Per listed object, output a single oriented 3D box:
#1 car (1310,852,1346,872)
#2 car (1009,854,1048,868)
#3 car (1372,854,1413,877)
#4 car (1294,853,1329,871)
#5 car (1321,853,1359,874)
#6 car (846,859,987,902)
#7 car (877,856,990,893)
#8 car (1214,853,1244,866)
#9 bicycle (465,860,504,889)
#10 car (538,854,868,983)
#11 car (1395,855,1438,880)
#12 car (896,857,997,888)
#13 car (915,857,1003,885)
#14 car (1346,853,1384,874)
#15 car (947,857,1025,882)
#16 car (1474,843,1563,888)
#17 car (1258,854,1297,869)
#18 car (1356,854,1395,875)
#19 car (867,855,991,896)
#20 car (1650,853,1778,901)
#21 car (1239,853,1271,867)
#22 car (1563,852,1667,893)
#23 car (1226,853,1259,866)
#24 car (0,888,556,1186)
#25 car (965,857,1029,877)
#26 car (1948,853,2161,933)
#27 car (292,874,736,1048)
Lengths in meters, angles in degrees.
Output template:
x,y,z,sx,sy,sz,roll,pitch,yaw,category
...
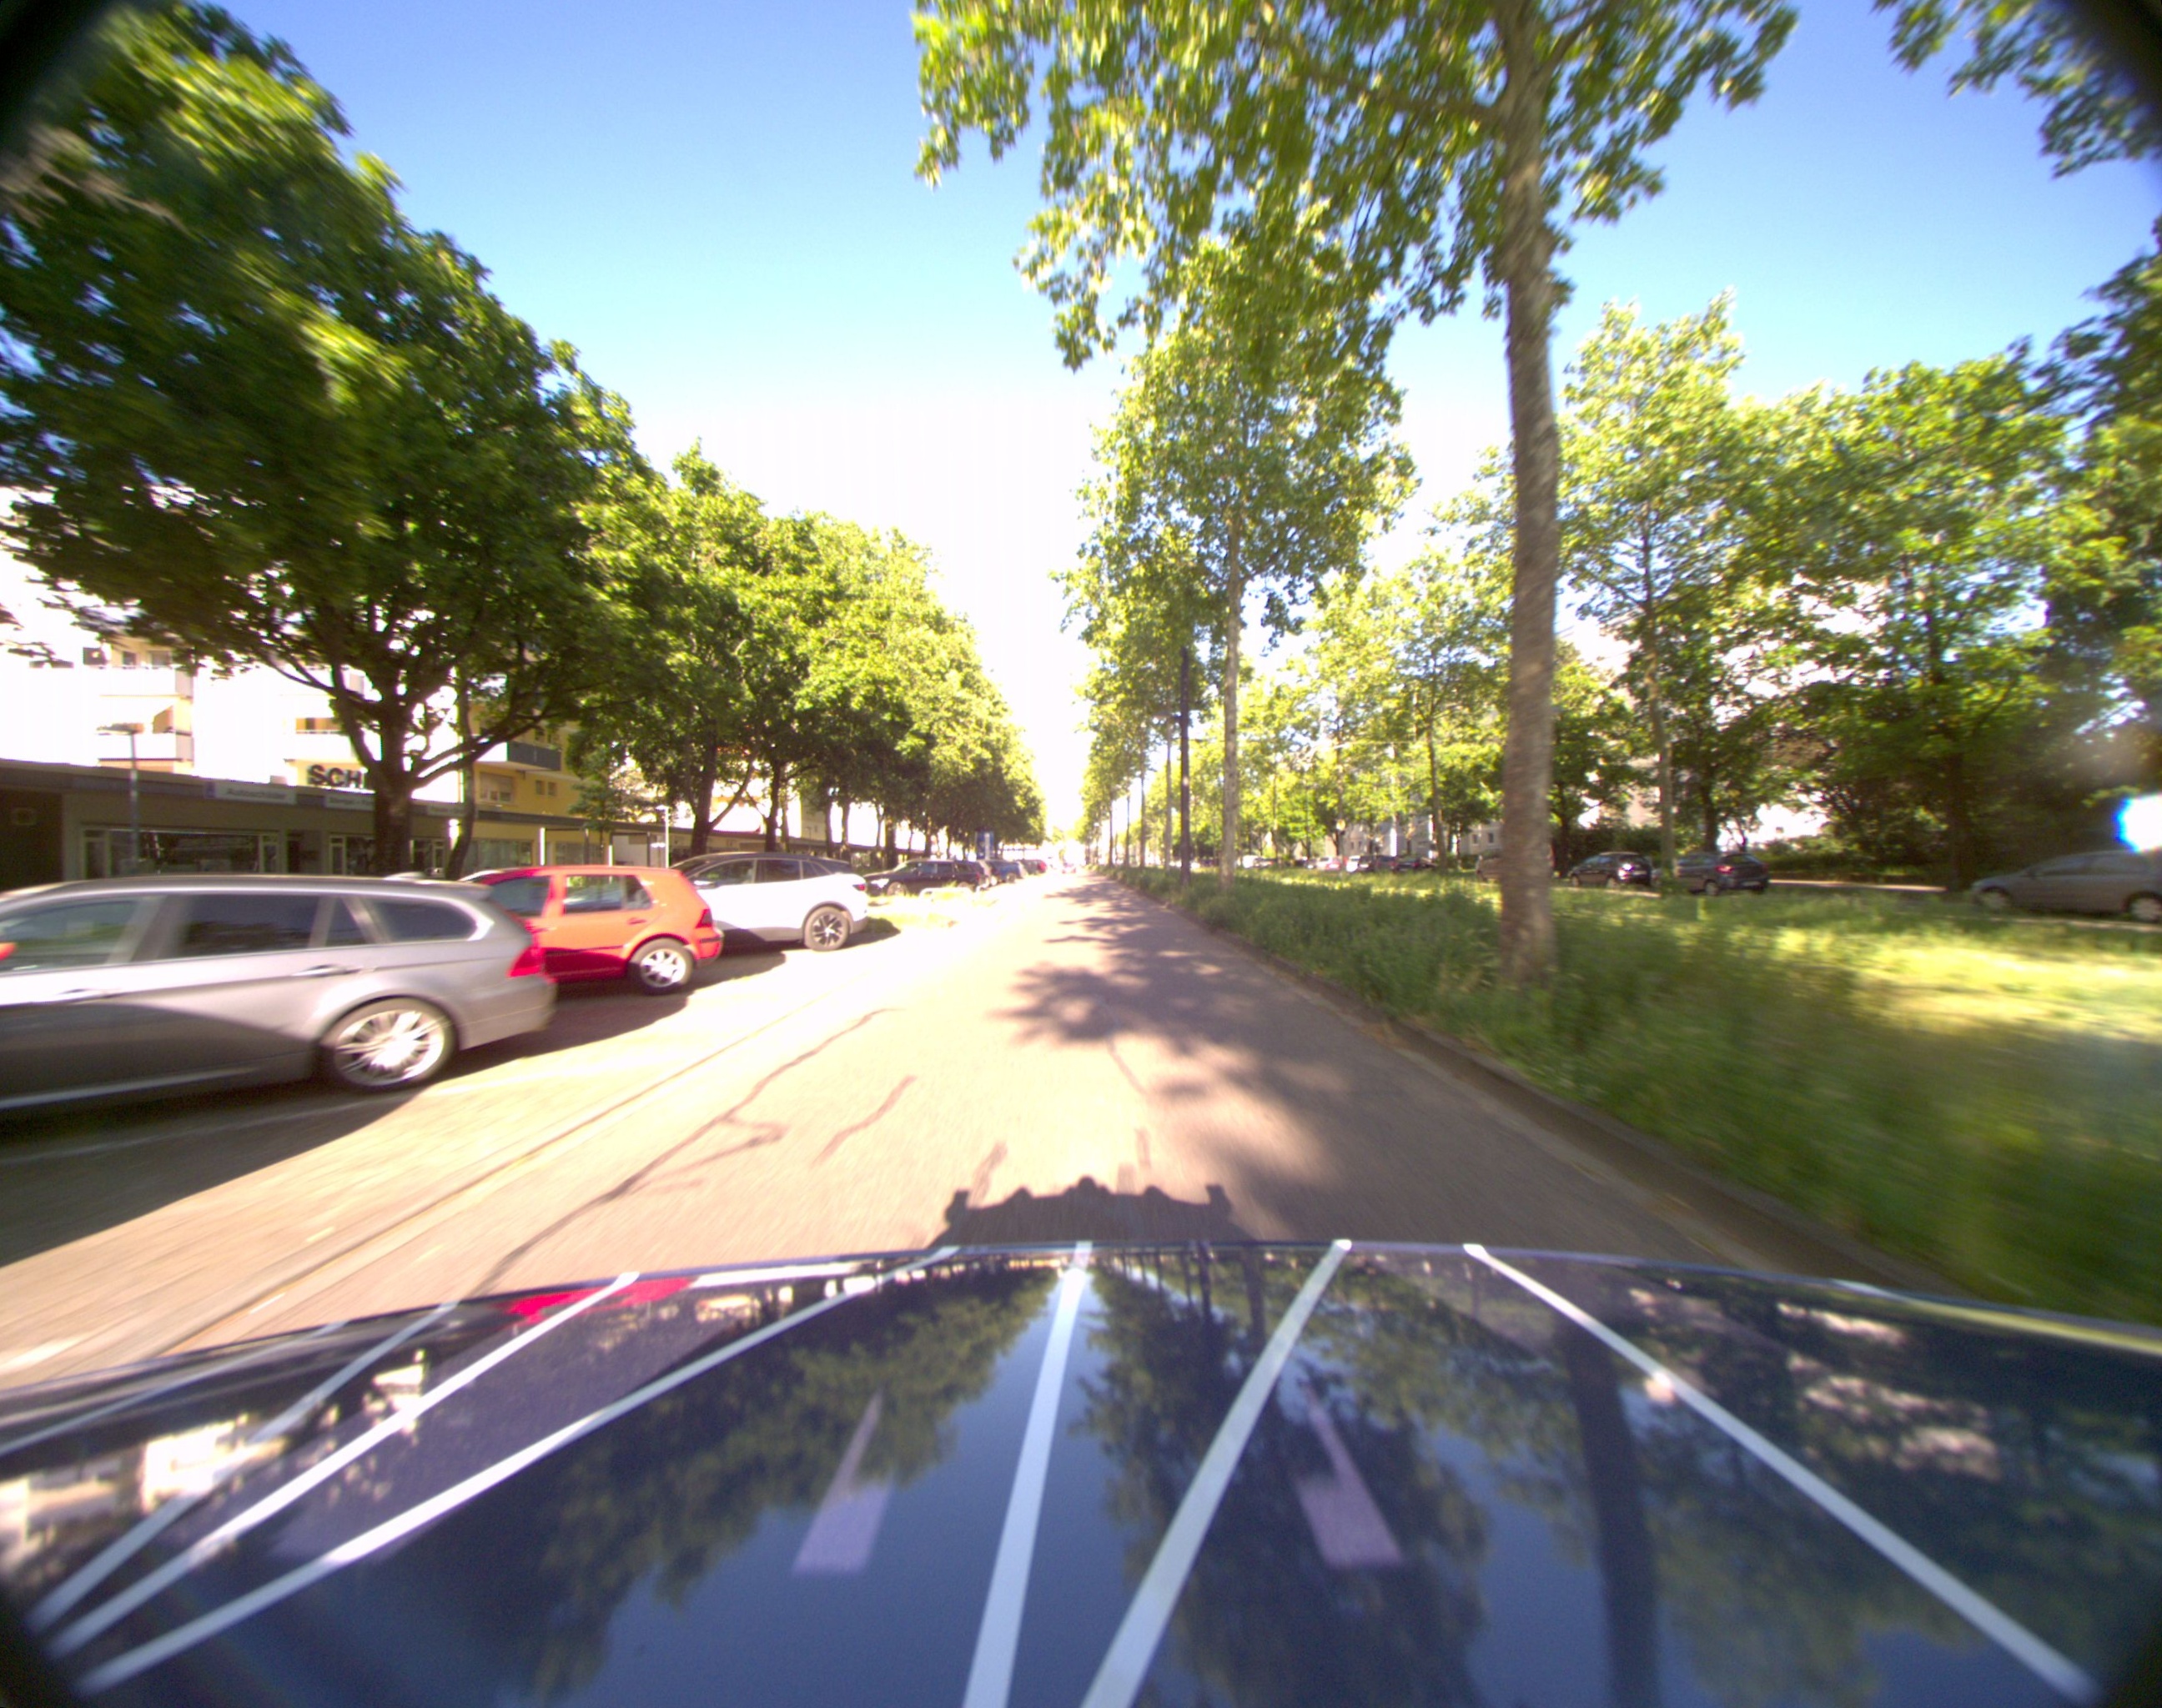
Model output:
x,y,z,sx,sy,sz,roll,pitch,yaw,category
23.928,0.753,73.441,1.895,1.699,4.509,-1,1,37,car
-6.300,0.867,90.786,1.894,1.663,4.510,1,0,44,car
23.957,0.867,58.394,1.884,1.558,4.008,-1,1,37,car
23.387,0.786,76.856,1.895,1.699,4.509,-1,1,37,car
23.538,0.871,68.877,1.895,1.699,4.509,-1,1,37,car
-5.947,0.928,27.881,1.994,1.417,4.687,1,0,44,car
-6.602,0.902,34.438,1.994,1.512,4.687,1,0,44,car
21.755,0.813,111.727,4.006,1.699,1.837,-2,1,-31,car
-28.028,0.958,35.746,0.506,1.299,1.660,-2,1,-2,bicycle
-5.813,0.842,12.064,4.312,1.666,1.862,-1,0,-45,car
23.707,0.919,53.674,1.884,1.558,4.008,-1,1,37,car
-6.705,0.911,38.259,1.994,1.440,4.687,1,0,44,car
-6.629,0.916,41.599,1.894,1.440,4.510,1,0,44,car
24.929,0.826,66.587,1.895,1.699,4.509,-1,1,37,car
-5.696,0.921,46.007,1.894,1.440,4.510,1,0,44,car
22.446,0.554,39.209,1.986,2.045,4.278,-4,1,0,car
23.867,0.922,92.261,4.507,1.699,1.895,-2,1,-31,car
24.065,0.830,61.999,1.884,1.558,4.008,-1,1,37,car
-6.238,0.857,31.575,1.994,1.556,4.687,1,0,44,car
22.431,0.758,27.105,1.545,1.480,3.570,-4,0,1,car
23.469,0.842,102.373,4.006,1.699,1.837,-2,1,-31,car
22.682,0.750,32.475,1.754,1.487,3.817,-4,1,1,car
23.125,0.794,108.845,4.507,1.699,1.837,-2,1,-31,car
-5.849,0.975,4.627,1.681,1.395,4.096,1,0,44,car
-6.199,0.955,56.273,1.894,1.440,4.510,1,0,44,car
22.550,0.777,16.825,1.843,1.480,4.179,-4,0,-1,car
-5.931,0.962,8.293,3.584,1.412,1.706,1,1,-42,car
